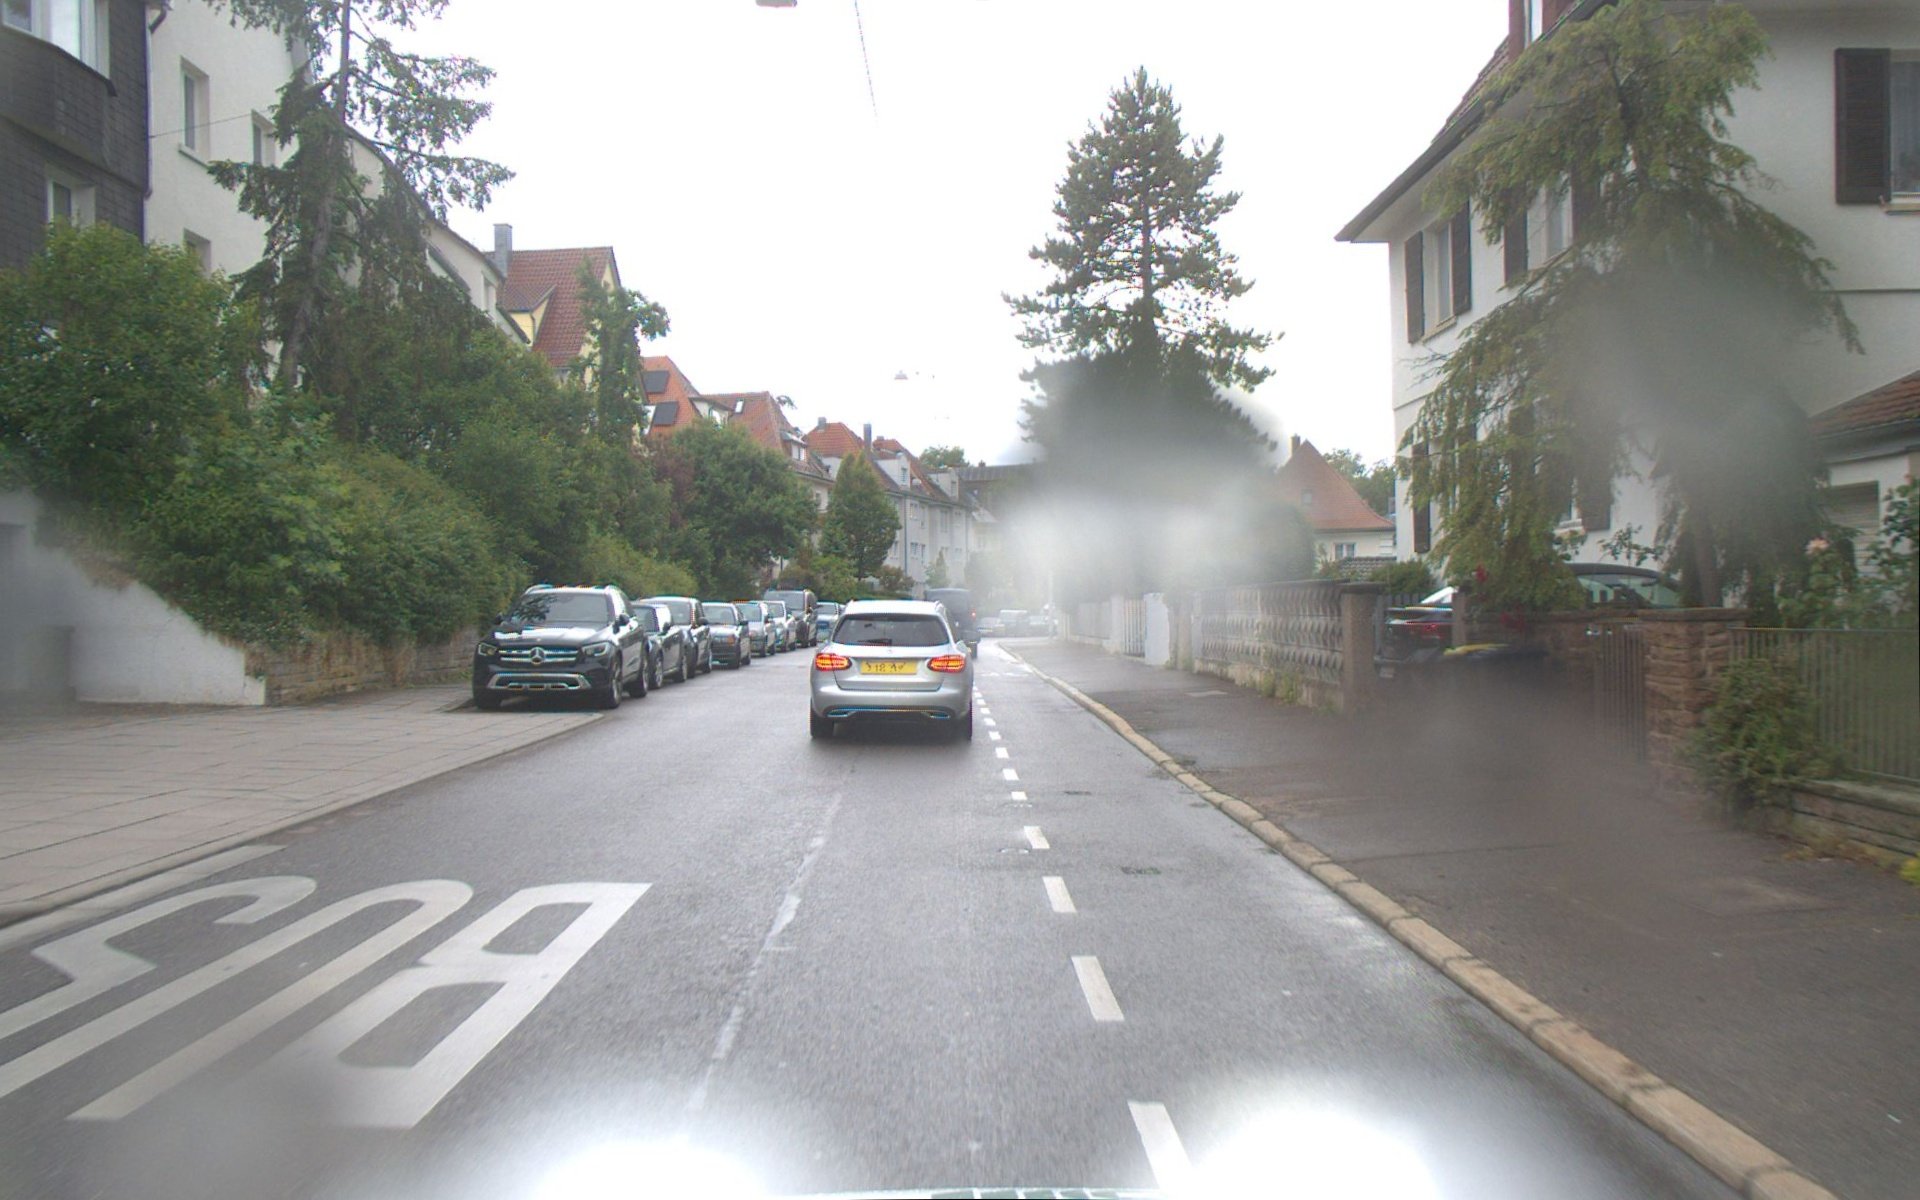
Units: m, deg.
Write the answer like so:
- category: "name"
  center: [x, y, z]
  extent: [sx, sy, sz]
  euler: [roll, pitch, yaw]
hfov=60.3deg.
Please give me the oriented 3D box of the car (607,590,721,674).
- category: "car"
  center: [-5.816, 0.588, 32.838]
  extent: [1.662, 1.568, 3.813]
  euler: [0, 0, -1]

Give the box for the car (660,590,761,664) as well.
- category: "car"
  center: [-5.594, 0.570, 37.551]
  extent: [1.720, 1.472, 4.416]
  euler: [0, 2, -1]

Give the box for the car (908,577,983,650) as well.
- category: "car"
  center: [-0.358, 0.383, 46.144]
  extent: [1.804, 1.937, 4.001]
  euler: [0, -1, 3]

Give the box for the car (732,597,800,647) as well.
- category: "car"
  center: [-5.925, 0.658, 50.858]
  extent: [1.660, 1.472, 3.813]
  euler: [0, 0, 0]

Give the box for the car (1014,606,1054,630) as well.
- category: "car"
  center: [5.928, 1.418, 131.991]
  extent: [1.952, 1.718, 4.678]
  euler: [1, 2, 20]

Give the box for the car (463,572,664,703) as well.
- category: "car"
  center: [-5.411, 0.466, 23.143]
  extent: [1.855, 1.651, 4.377]
  euler: [0, 0, -1]

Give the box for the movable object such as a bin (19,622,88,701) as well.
- category: "movable object such as a bin"
  center: [-11.021, 0.740, 20.116]
  extent: [0.480, 0.904, 0.617]
  euler: [1, 2, 45]

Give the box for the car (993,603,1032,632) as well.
- category: "car"
  center: [3.998, 1.323, 125.159]
  extent: [1.790, 2.092, 5.012]
  euler: [0, -1, 16]

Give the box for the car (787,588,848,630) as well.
- category: "car"
  center: [-5.947, 0.361, 69.717]
  extent: [1.952, 1.608, 4.762]
  euler: [2, 0, 2]

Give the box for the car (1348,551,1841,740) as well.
- category: "car"
  center: [5.851, 0.372, 15.605]
  extent: [3.906, 1.668, 1.918]
  euler: [0, 2, -1]

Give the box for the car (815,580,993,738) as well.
- category: "car"
  center: [-0.674, 0.592, 18.681]
  extent: [1.780, 1.584, 3.997]
  euler: [1, 0, -3]

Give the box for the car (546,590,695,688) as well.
- category: "car"
  center: [-5.744, 0.621, 28.421]
  extent: [1.855, 1.472, 3.813]
  euler: [0, 2, -1]

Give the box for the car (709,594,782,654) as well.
- category: "car"
  center: [-5.867, 0.622, 45.464]
  extent: [1.613, 1.472, 3.627]
  euler: [0, 2, -1]

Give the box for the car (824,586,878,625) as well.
- category: "car"
  center: [-5.242, 0.273, 80.001]
  extent: [1.952, 1.732, 4.740]
  euler: [2, 0, 4]

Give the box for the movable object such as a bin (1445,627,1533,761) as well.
- category: "movable object such as a bin"
  center: [3.992, 0.699, 12.492]
  extent: [0.484, 0.972, 0.503]
  euler: [0, 1, -3]

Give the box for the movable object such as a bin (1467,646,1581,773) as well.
- category: "movable object such as a bin"
  center: [4.059, 0.779, 11.927]
  extent: [0.638, 0.870, 0.503]
  euler: [0, 2, -3]

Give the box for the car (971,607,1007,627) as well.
- category: "car"
  center: [2.131, 1.232, 120.356]
  extent: [1.608, 1.442, 4.616]
  euler: [0, 0, 14]

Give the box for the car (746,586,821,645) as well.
- category: "car"
  center: [-6.011, 0.497, 56.868]
  extent: [1.952, 1.911, 5.356]
  euler: [1, 0, 0]

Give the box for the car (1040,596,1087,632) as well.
- category: "car"
  center: [8.742, 1.178, 139.187]
  extent: [2.341, 2.820, 6.534]
  euler: [1, 1, 19]
